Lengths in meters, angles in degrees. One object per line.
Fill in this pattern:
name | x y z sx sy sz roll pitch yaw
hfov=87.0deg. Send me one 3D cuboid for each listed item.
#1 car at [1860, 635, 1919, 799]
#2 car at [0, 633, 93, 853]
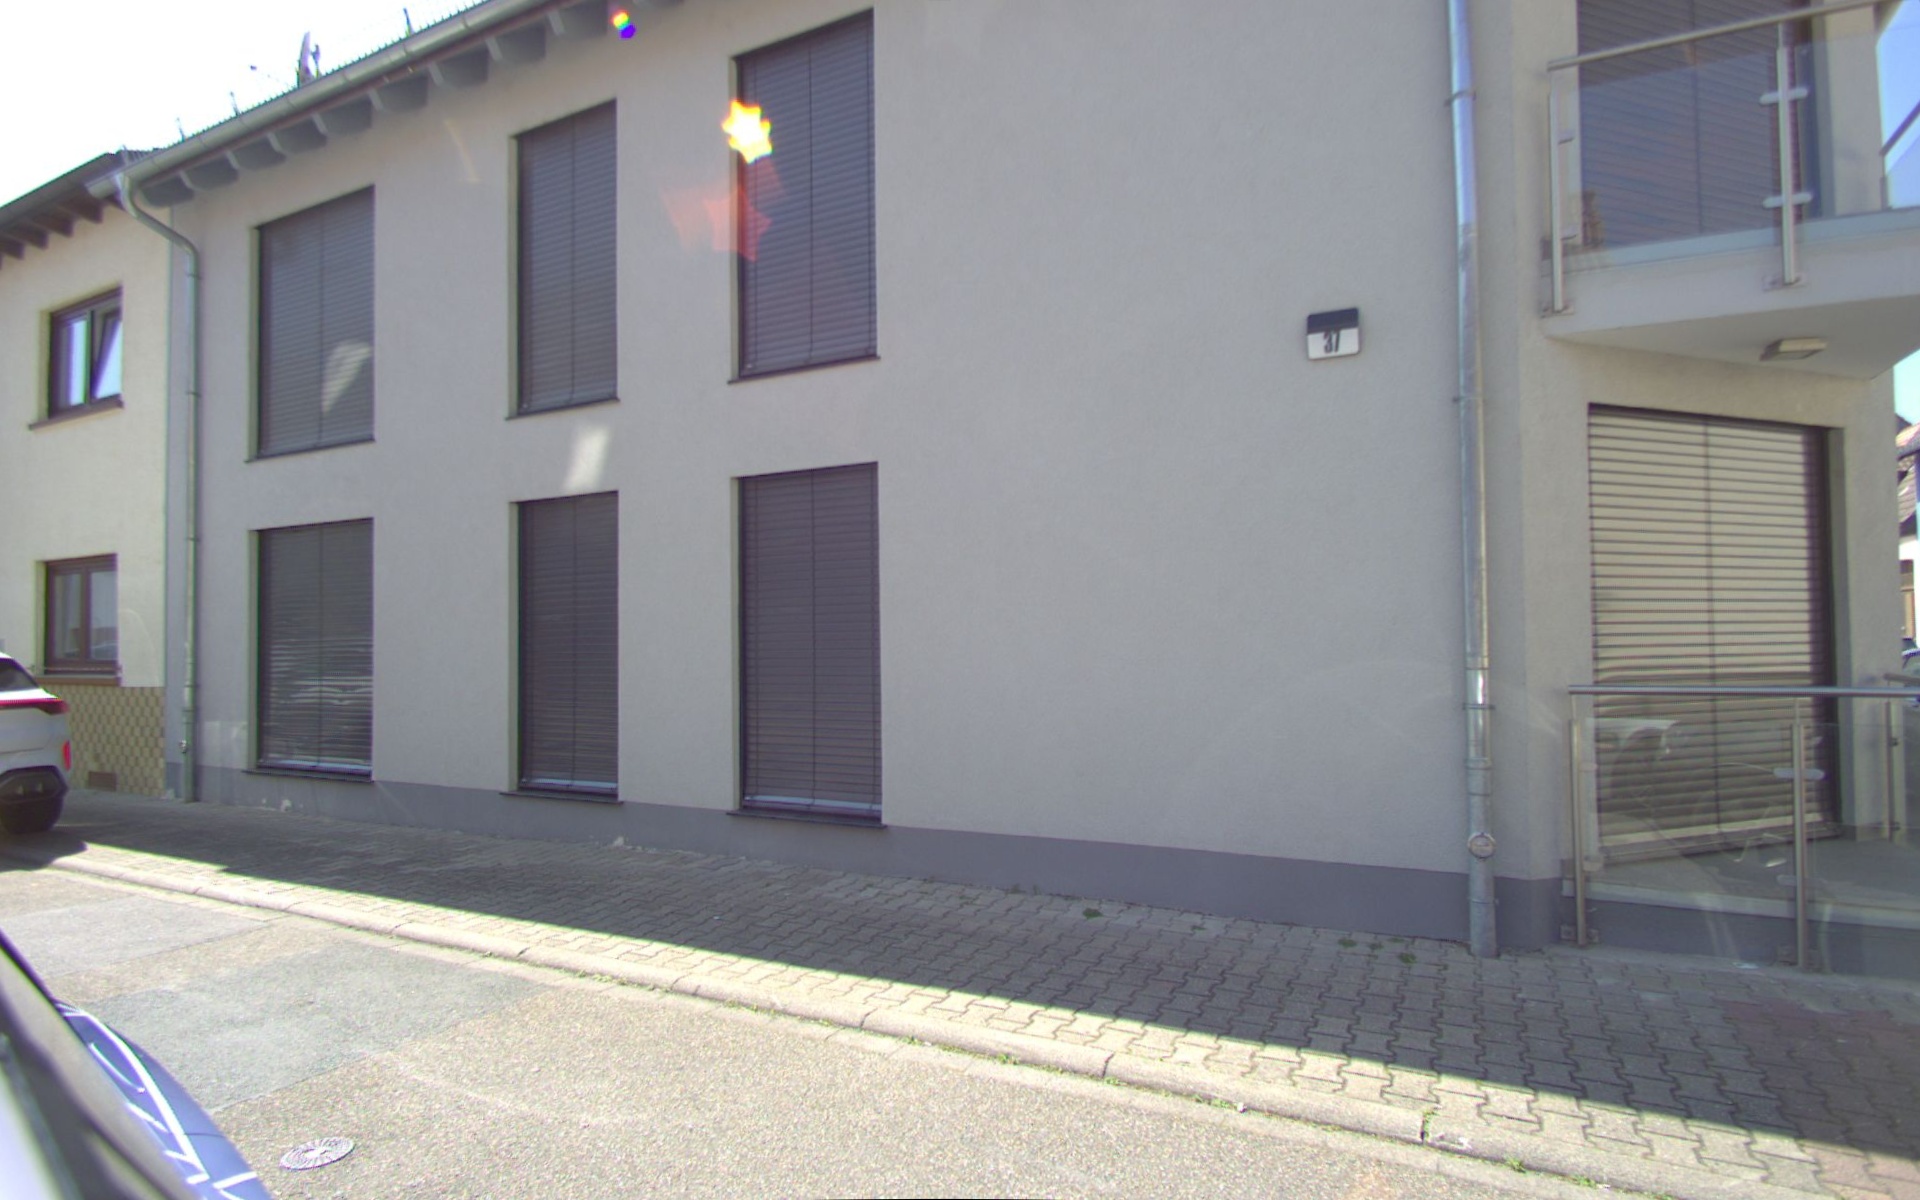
car | 8.574 0.958 7.644 1.631 1.379 3.891 -4 -3 27
car | -9.192 1.102 8.140 4.325 1.628 1.764 -2 -3 26
